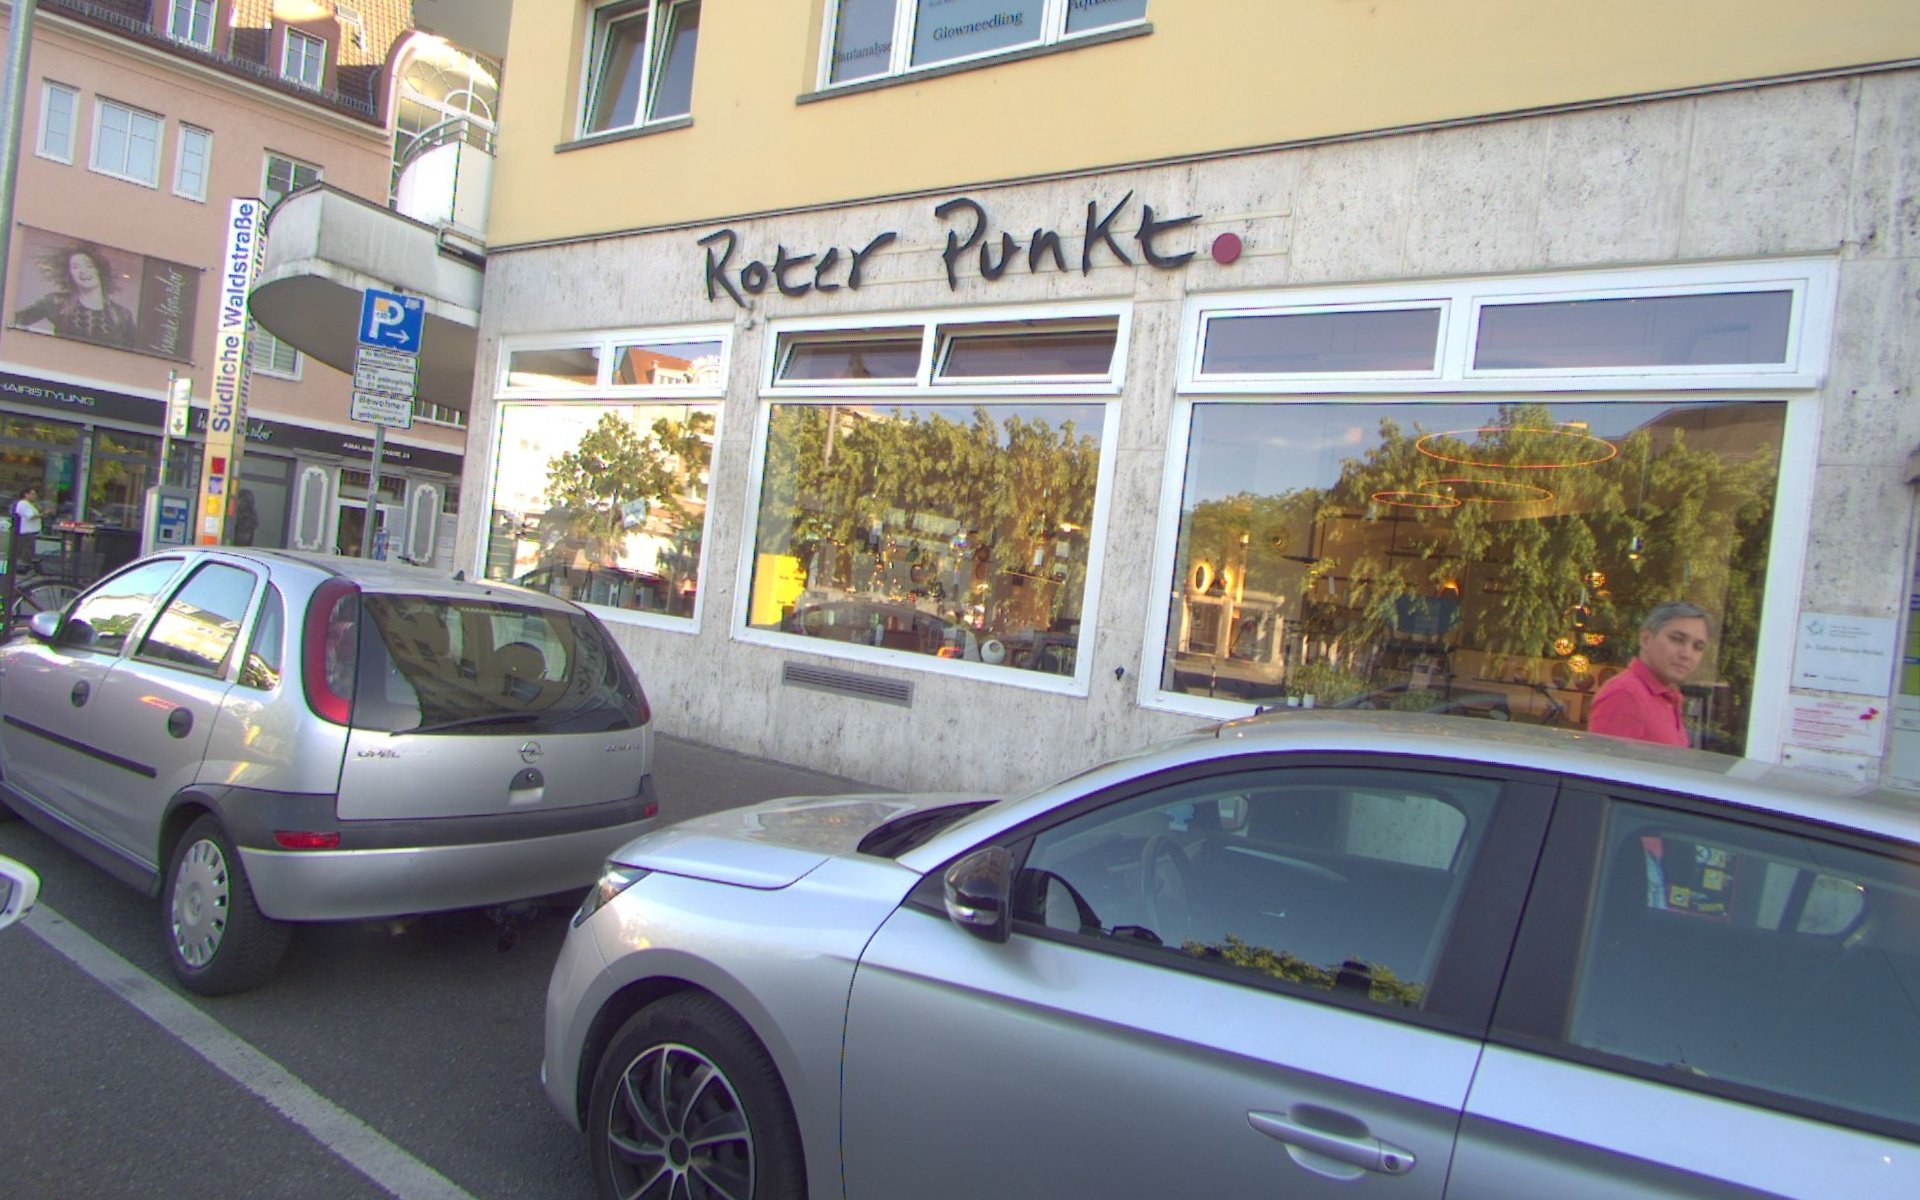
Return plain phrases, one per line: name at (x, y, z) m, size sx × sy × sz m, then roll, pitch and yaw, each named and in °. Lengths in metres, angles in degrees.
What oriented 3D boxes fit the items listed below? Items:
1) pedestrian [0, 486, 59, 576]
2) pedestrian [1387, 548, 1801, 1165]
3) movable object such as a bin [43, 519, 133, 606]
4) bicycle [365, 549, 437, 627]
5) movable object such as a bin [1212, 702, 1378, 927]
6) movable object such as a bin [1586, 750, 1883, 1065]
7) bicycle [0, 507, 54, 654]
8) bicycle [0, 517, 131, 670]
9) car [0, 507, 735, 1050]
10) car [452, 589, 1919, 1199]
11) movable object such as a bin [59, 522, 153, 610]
pedestrian at (-17.660, -1.301, 18.961) m, size 0.688 × 1.571 × 0.747 m, roll 7°, pitch 0°, yaw 35°
pedestrian at (2.289, 0.779, 3.646) m, size 0.994 × 1.807 × 0.862 m, roll 7°, pitch 2°, yaw 40°
movable object such as a bin at (-12.444, -0.528, 14.356) m, size 0.617 × 1.105 × 0.734 m, roll 6°, pitch -1°, yaw 34°
bicycle at (-10.030, -0.232, 18.003) m, size 0.656 × 1.213 × 2.187 m, roll 7°, pitch -1°, yaw -39°
movable object such as a bin at (1.853, 1.119, 5.515) m, size 0.592 × 1.041 × 0.811 m, roll 7°, pitch 0°, yaw 31°
movable object such as a bin at (3.398, 1.294, 4.520) m, size 0.879 × 1.066 × 0.751 m, roll 7°, pitch 0°, yaw 32°
bicycle at (-9.117, -0.236, 8.709) m, size 0.778 × 1.284 × 1.721 m, roll 7°, pitch 1°, yaw 37°
bicycle at (-8.112, -0.084, 8.236) m, size 0.681 × 1.208 × 1.885 m, roll 8°, pitch 1°, yaw 37°
car at (-2.948, 0.480, 4.469) m, size 3.583 × 1.397 × 1.616 m, roll 7°, pitch -2°, yaw 32°
car at (0.773, 0.927, 2.317) m, size 3.643 × 1.415 × 1.653 m, roll 7°, pitch -1°, yaw 30°
movable object such as a bin at (-11.908, -0.469, 14.036) m, size 0.617 × 1.105 × 0.754 m, roll 6°, pitch -1°, yaw 34°
